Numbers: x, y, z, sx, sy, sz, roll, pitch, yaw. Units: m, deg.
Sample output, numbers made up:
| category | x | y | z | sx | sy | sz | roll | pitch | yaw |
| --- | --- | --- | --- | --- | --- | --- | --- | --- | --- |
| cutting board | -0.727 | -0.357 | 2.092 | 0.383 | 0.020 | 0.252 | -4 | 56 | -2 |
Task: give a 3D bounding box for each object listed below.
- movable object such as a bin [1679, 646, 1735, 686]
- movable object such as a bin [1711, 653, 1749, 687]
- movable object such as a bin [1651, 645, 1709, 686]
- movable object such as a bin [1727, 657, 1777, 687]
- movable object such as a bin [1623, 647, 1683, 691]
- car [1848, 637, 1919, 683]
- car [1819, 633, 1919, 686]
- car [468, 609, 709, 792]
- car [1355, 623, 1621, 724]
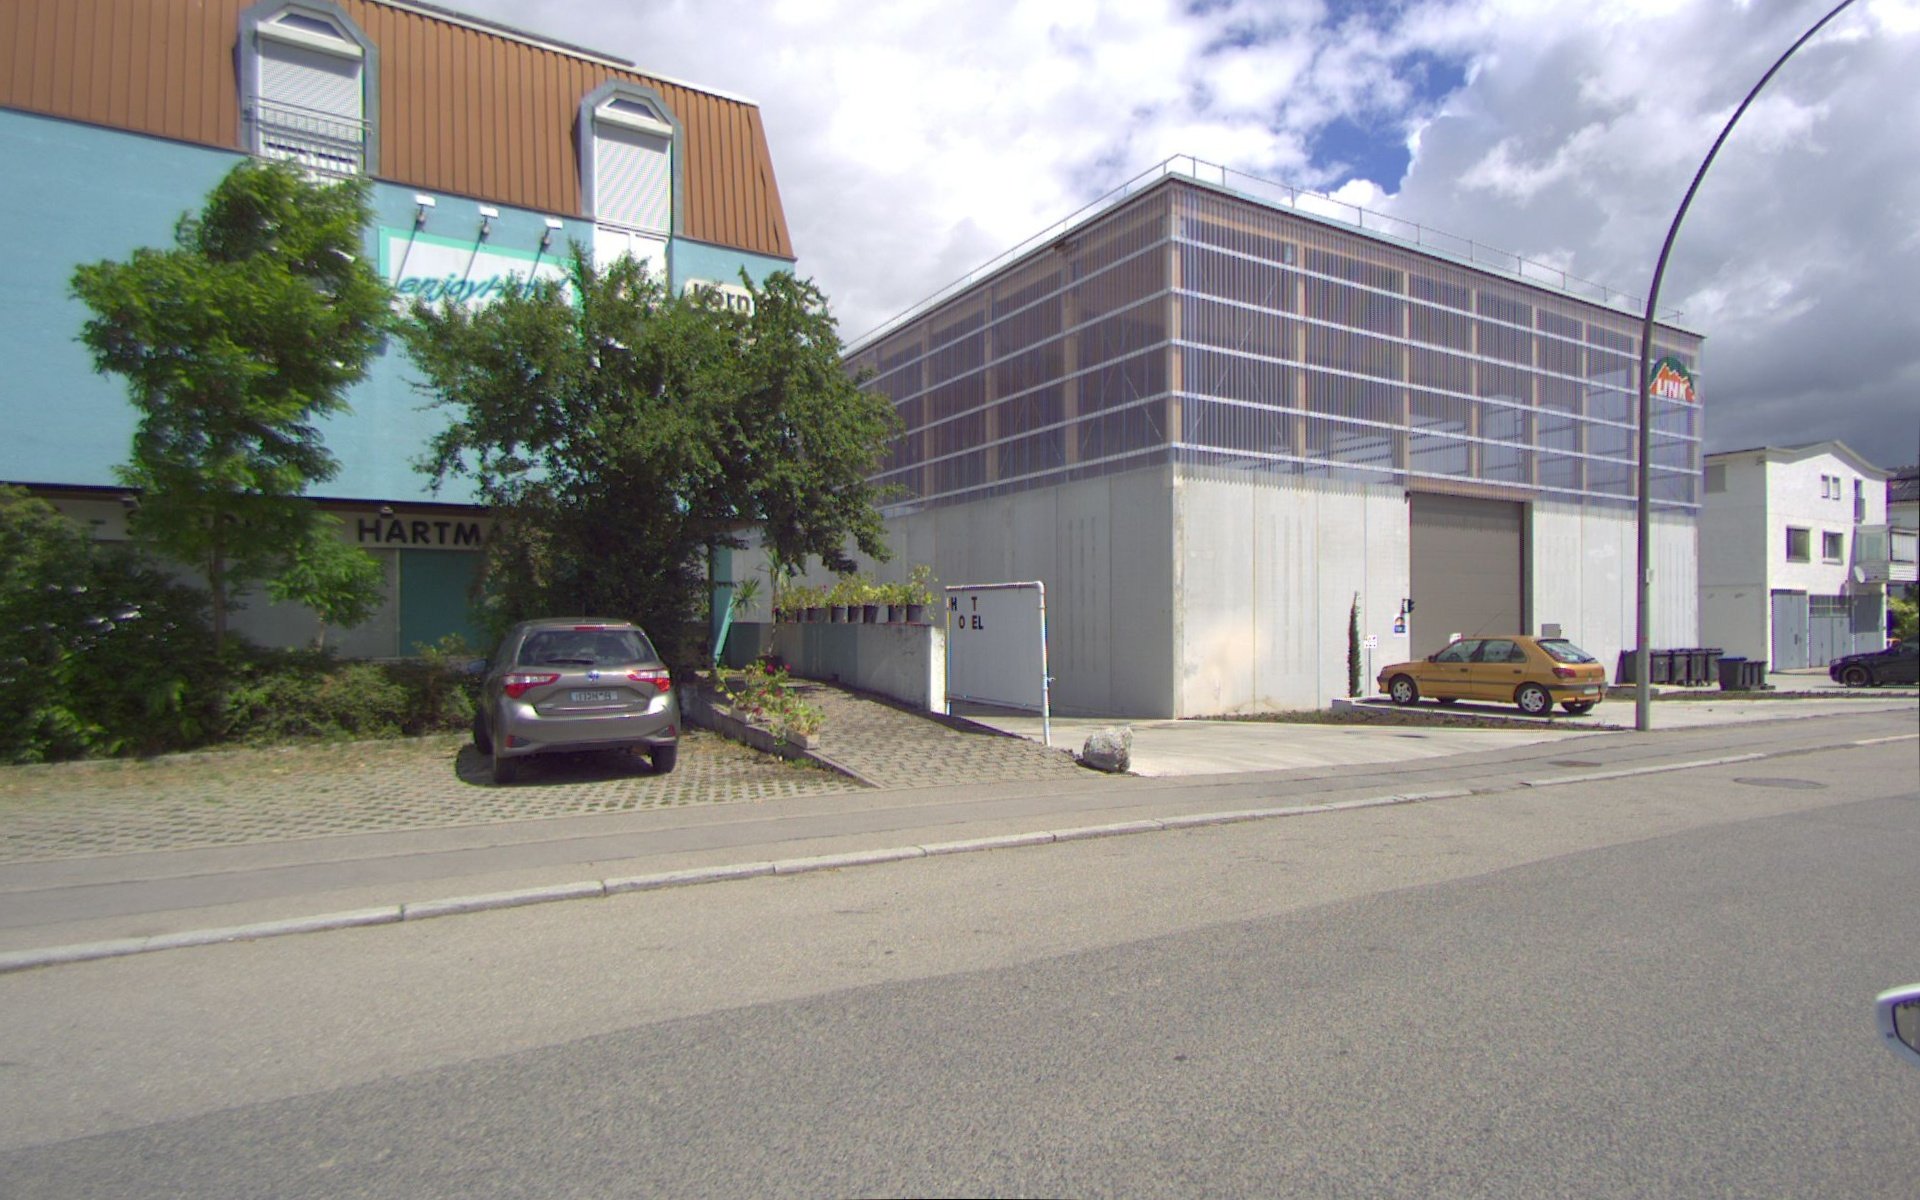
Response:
| category | x | y | z | sx | sy | sz | roll | pitch | yaw |
| --- | --- | --- | --- | --- | --- | --- | --- | --- | --- |
| movable object such as a bin | 26.736 | 2.347 | 35.960 | 1.796 | 1.374 | 0.953 | 1 | -2 | -29 |
| movable object such as a bin | 24.609 | 2.238 | 32.102 | 0.703 | 1.044 | 0.740 | 1 | -2 | -28 |
| movable object such as a bin | 25.125 | 2.284 | 35.052 | 1.796 | 1.374 | 0.953 | 1 | -2 | -29 |
| movable object such as a bin | 25.637 | 2.317 | 32.520 | 1.500 | 0.931 | 0.740 | 1 | -2 | -29 |
| movable object such as a bin | 23.531 | 2.337 | 34.116 | 1.796 | 1.374 | 0.953 | 1 | 1 | -29 |
| car | 32.895 | 1.975 | 33.587 | 1.806 | 1.524 | 4.437 | 1 | -4 | -33 |
| car | 30.859 | 1.880 | 32.206 | 2.174 | 1.654 | 4.601 | 1 | -4 | -33 |
| car | -4.069 | 0.892 | 10.625 | 1.954 | 1.553 | 3.614 | 1 | -1 | -28 |
| car | 9.923 | 1.299 | 19.185 | 1.806 | 1.512 | 4.125 | 1 | 1 | -33 |
